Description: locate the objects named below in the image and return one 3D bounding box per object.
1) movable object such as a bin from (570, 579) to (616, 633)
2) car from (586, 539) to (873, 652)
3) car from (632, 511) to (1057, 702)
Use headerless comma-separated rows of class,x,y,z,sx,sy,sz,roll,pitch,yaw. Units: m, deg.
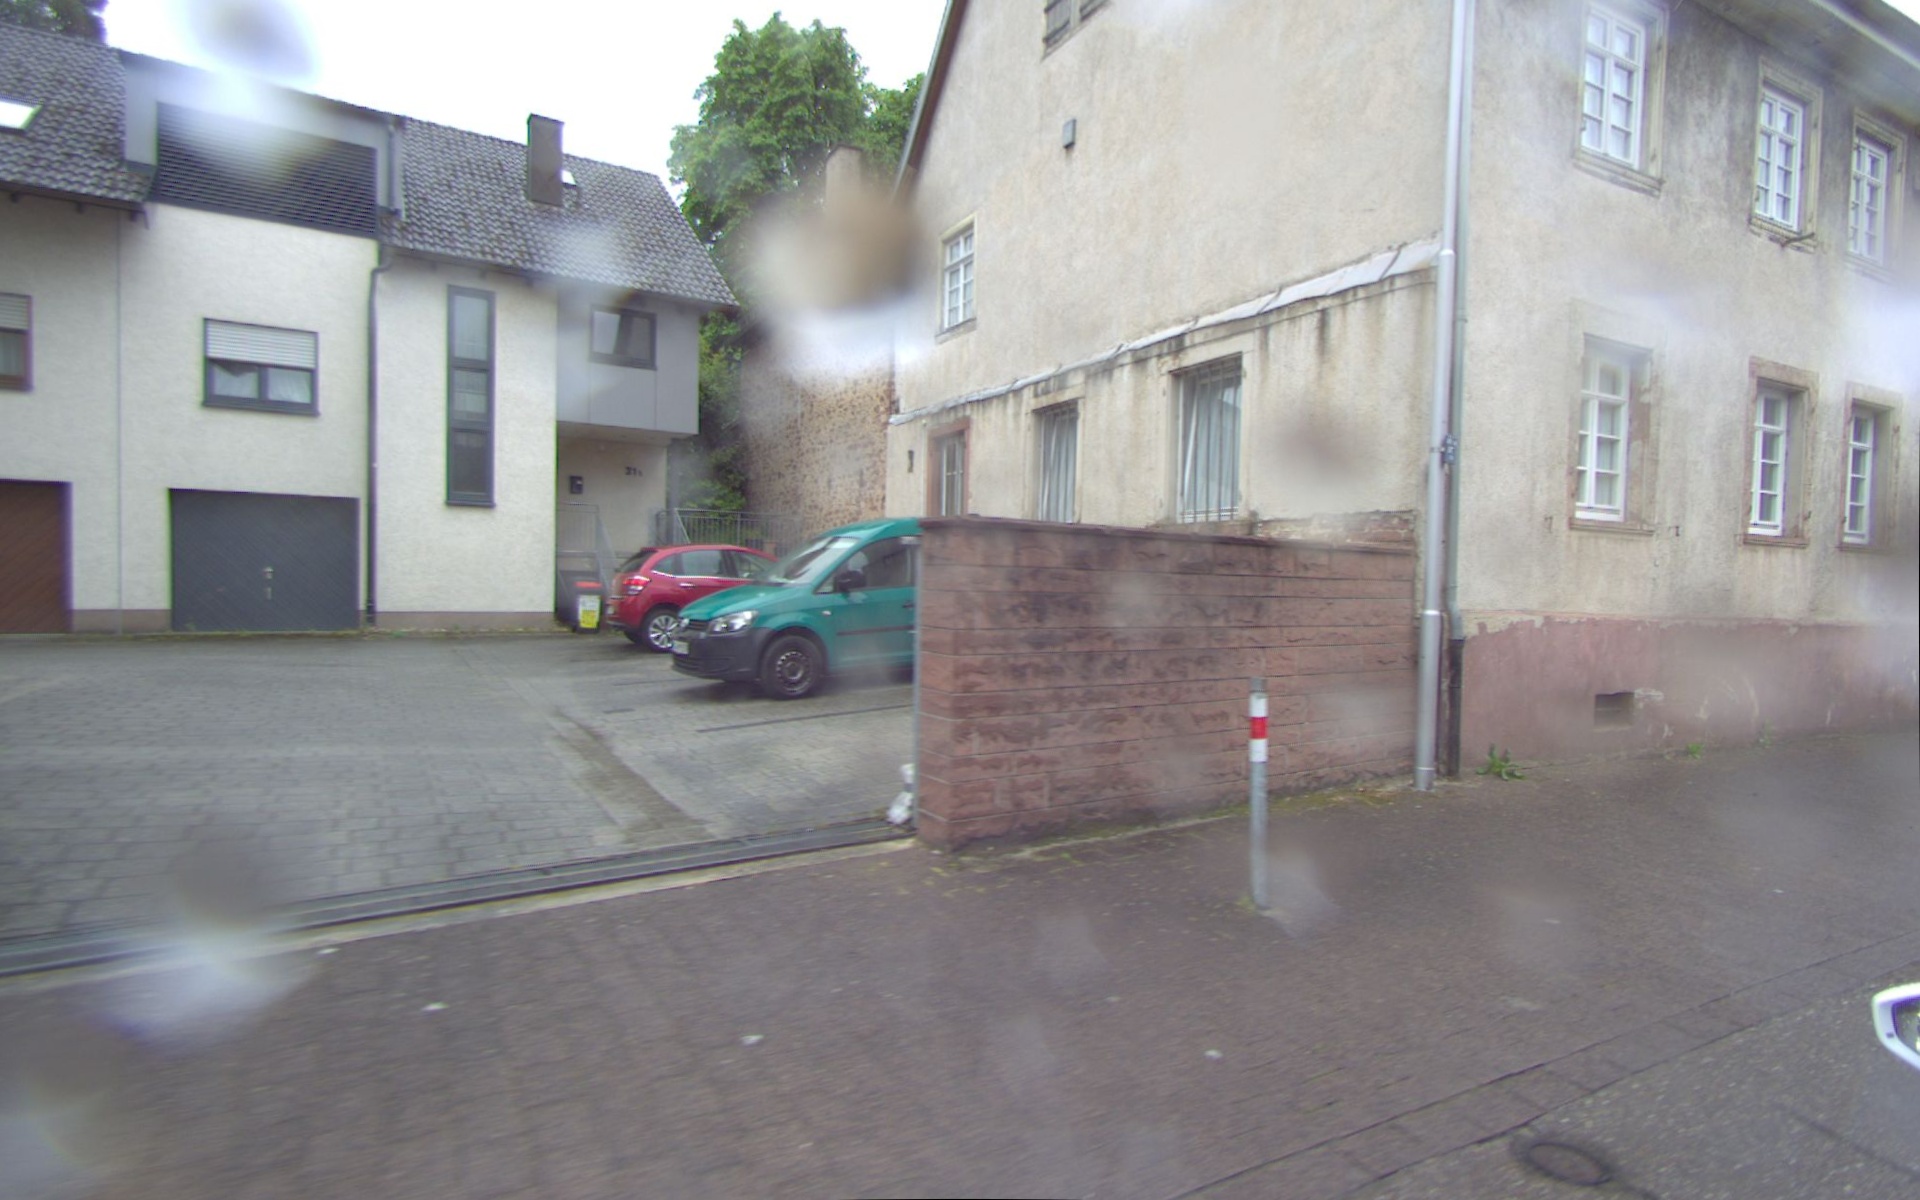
movable object such as a bin,-6.253,0.098,17.101,0.603,0.870,0.607,2,2,-32
car,-3.499,-0.146,15.421,3.953,1.528,1.792,-1,4,-31
car,-1.194,-0.044,11.141,4.259,1.739,1.974,-2,3,-34
